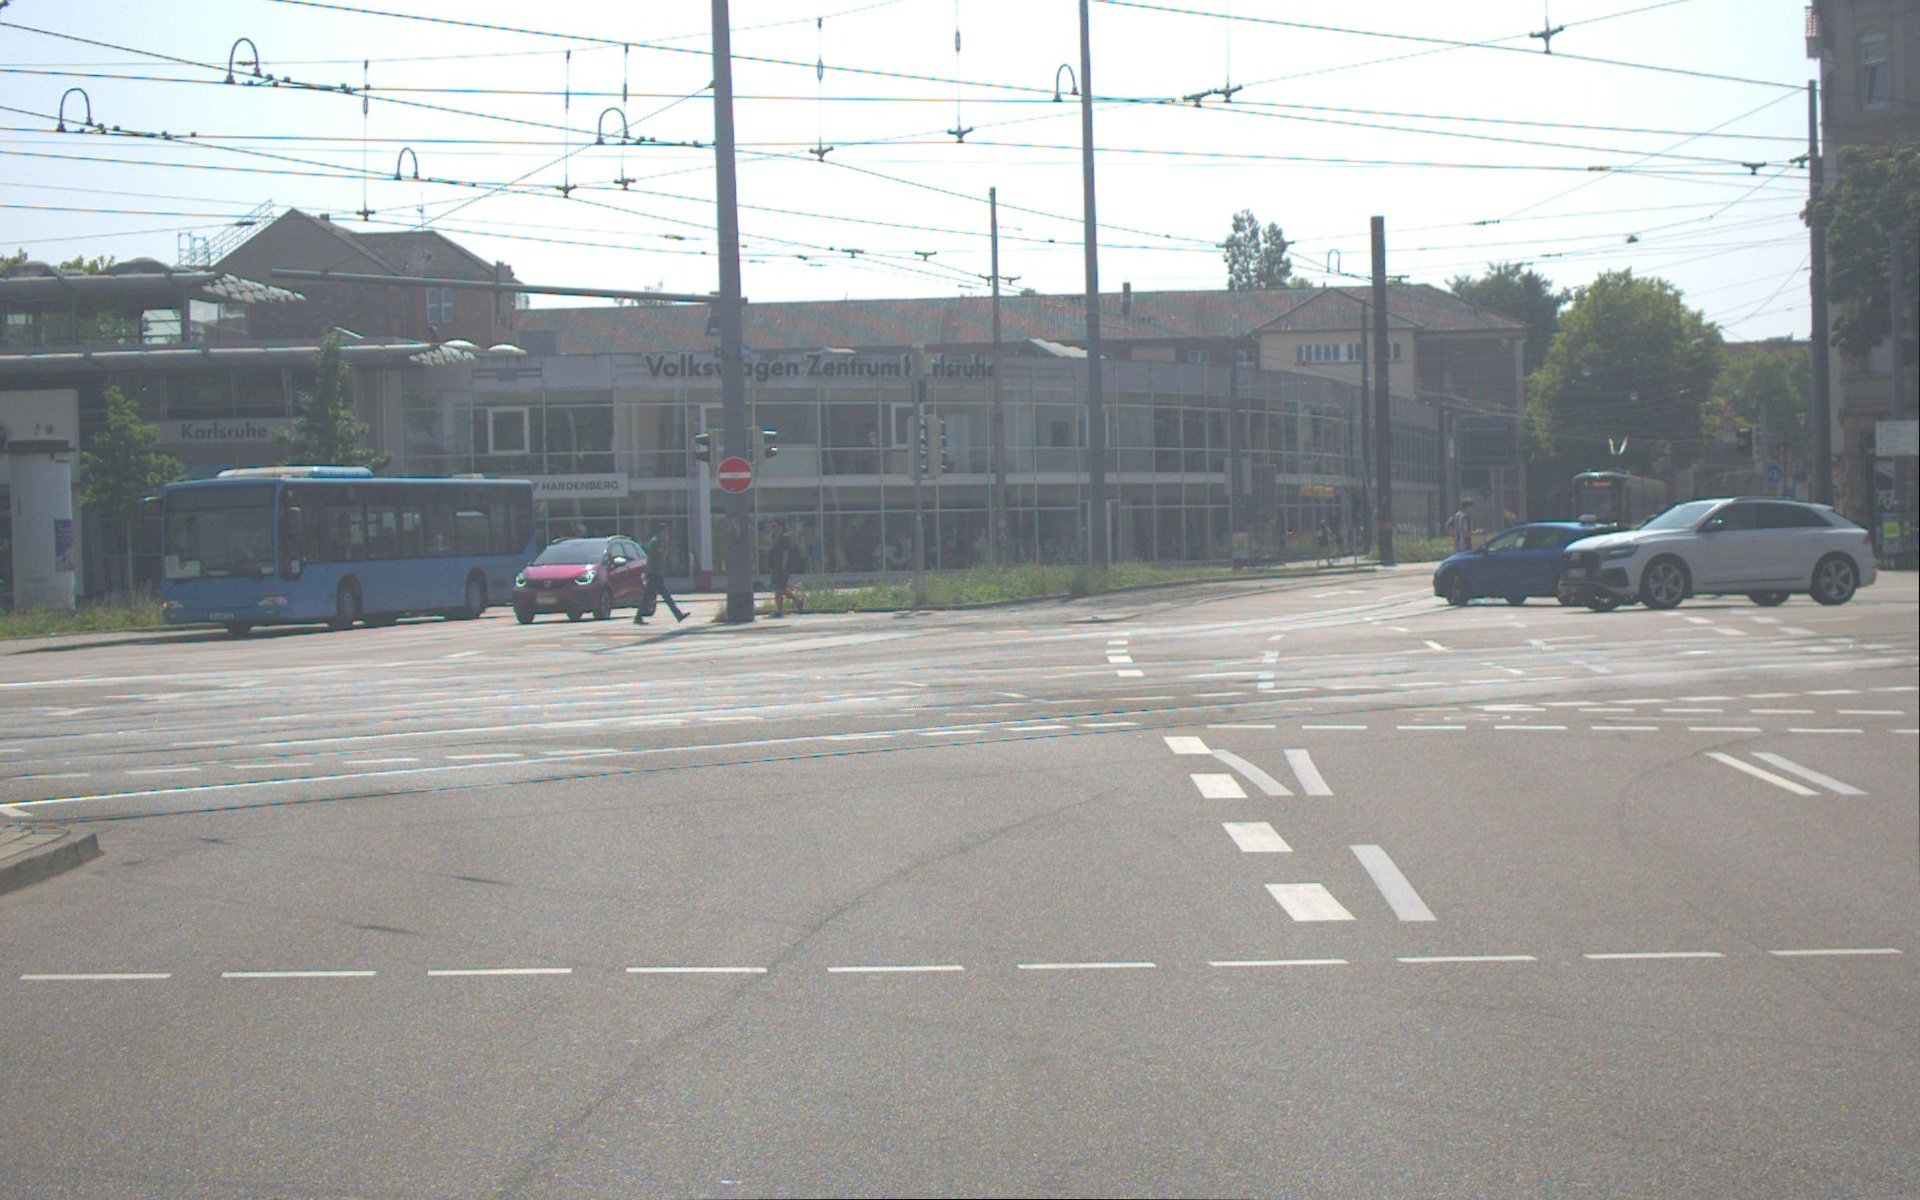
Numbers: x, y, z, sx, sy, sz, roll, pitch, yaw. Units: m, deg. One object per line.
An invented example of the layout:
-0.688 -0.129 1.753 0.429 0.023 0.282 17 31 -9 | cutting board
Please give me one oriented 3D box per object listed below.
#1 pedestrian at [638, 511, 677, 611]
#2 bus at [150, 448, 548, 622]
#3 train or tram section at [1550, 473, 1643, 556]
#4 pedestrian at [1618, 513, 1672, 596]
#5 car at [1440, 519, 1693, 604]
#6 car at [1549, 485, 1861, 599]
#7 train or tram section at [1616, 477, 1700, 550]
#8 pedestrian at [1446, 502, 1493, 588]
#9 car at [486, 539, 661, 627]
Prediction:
-5.144 -0.668 58.454 0.552 1.678 0.454 -1 1 -19 | pedestrian
-11.694 -1.301 67.574 2.564 3.072 12.014 -1 1 16 | bus
28.563 -3.822 153.861 2.590 3.504 10.889 -1 1 18 | train or tram section
12.918 -0.865 64.834 0.850 1.539 0.529 -1 1 -8 | pedestrian
10.347 -0.648 58.812 3.997 1.389 1.592 0 1 42 | car
11.291 -0.893 52.138 4.320 1.612 1.755 -2 1 -20 | car
35.487 -4.376 174.389 2.590 3.504 12.961 -1 1 18 | train or tram section
9.557 -1.035 64.492 0.699 1.597 0.573 -1 1 -8 | pedestrian
-7.213 -0.336 64.462 1.751 1.546 3.997 -1 1 18 | car
